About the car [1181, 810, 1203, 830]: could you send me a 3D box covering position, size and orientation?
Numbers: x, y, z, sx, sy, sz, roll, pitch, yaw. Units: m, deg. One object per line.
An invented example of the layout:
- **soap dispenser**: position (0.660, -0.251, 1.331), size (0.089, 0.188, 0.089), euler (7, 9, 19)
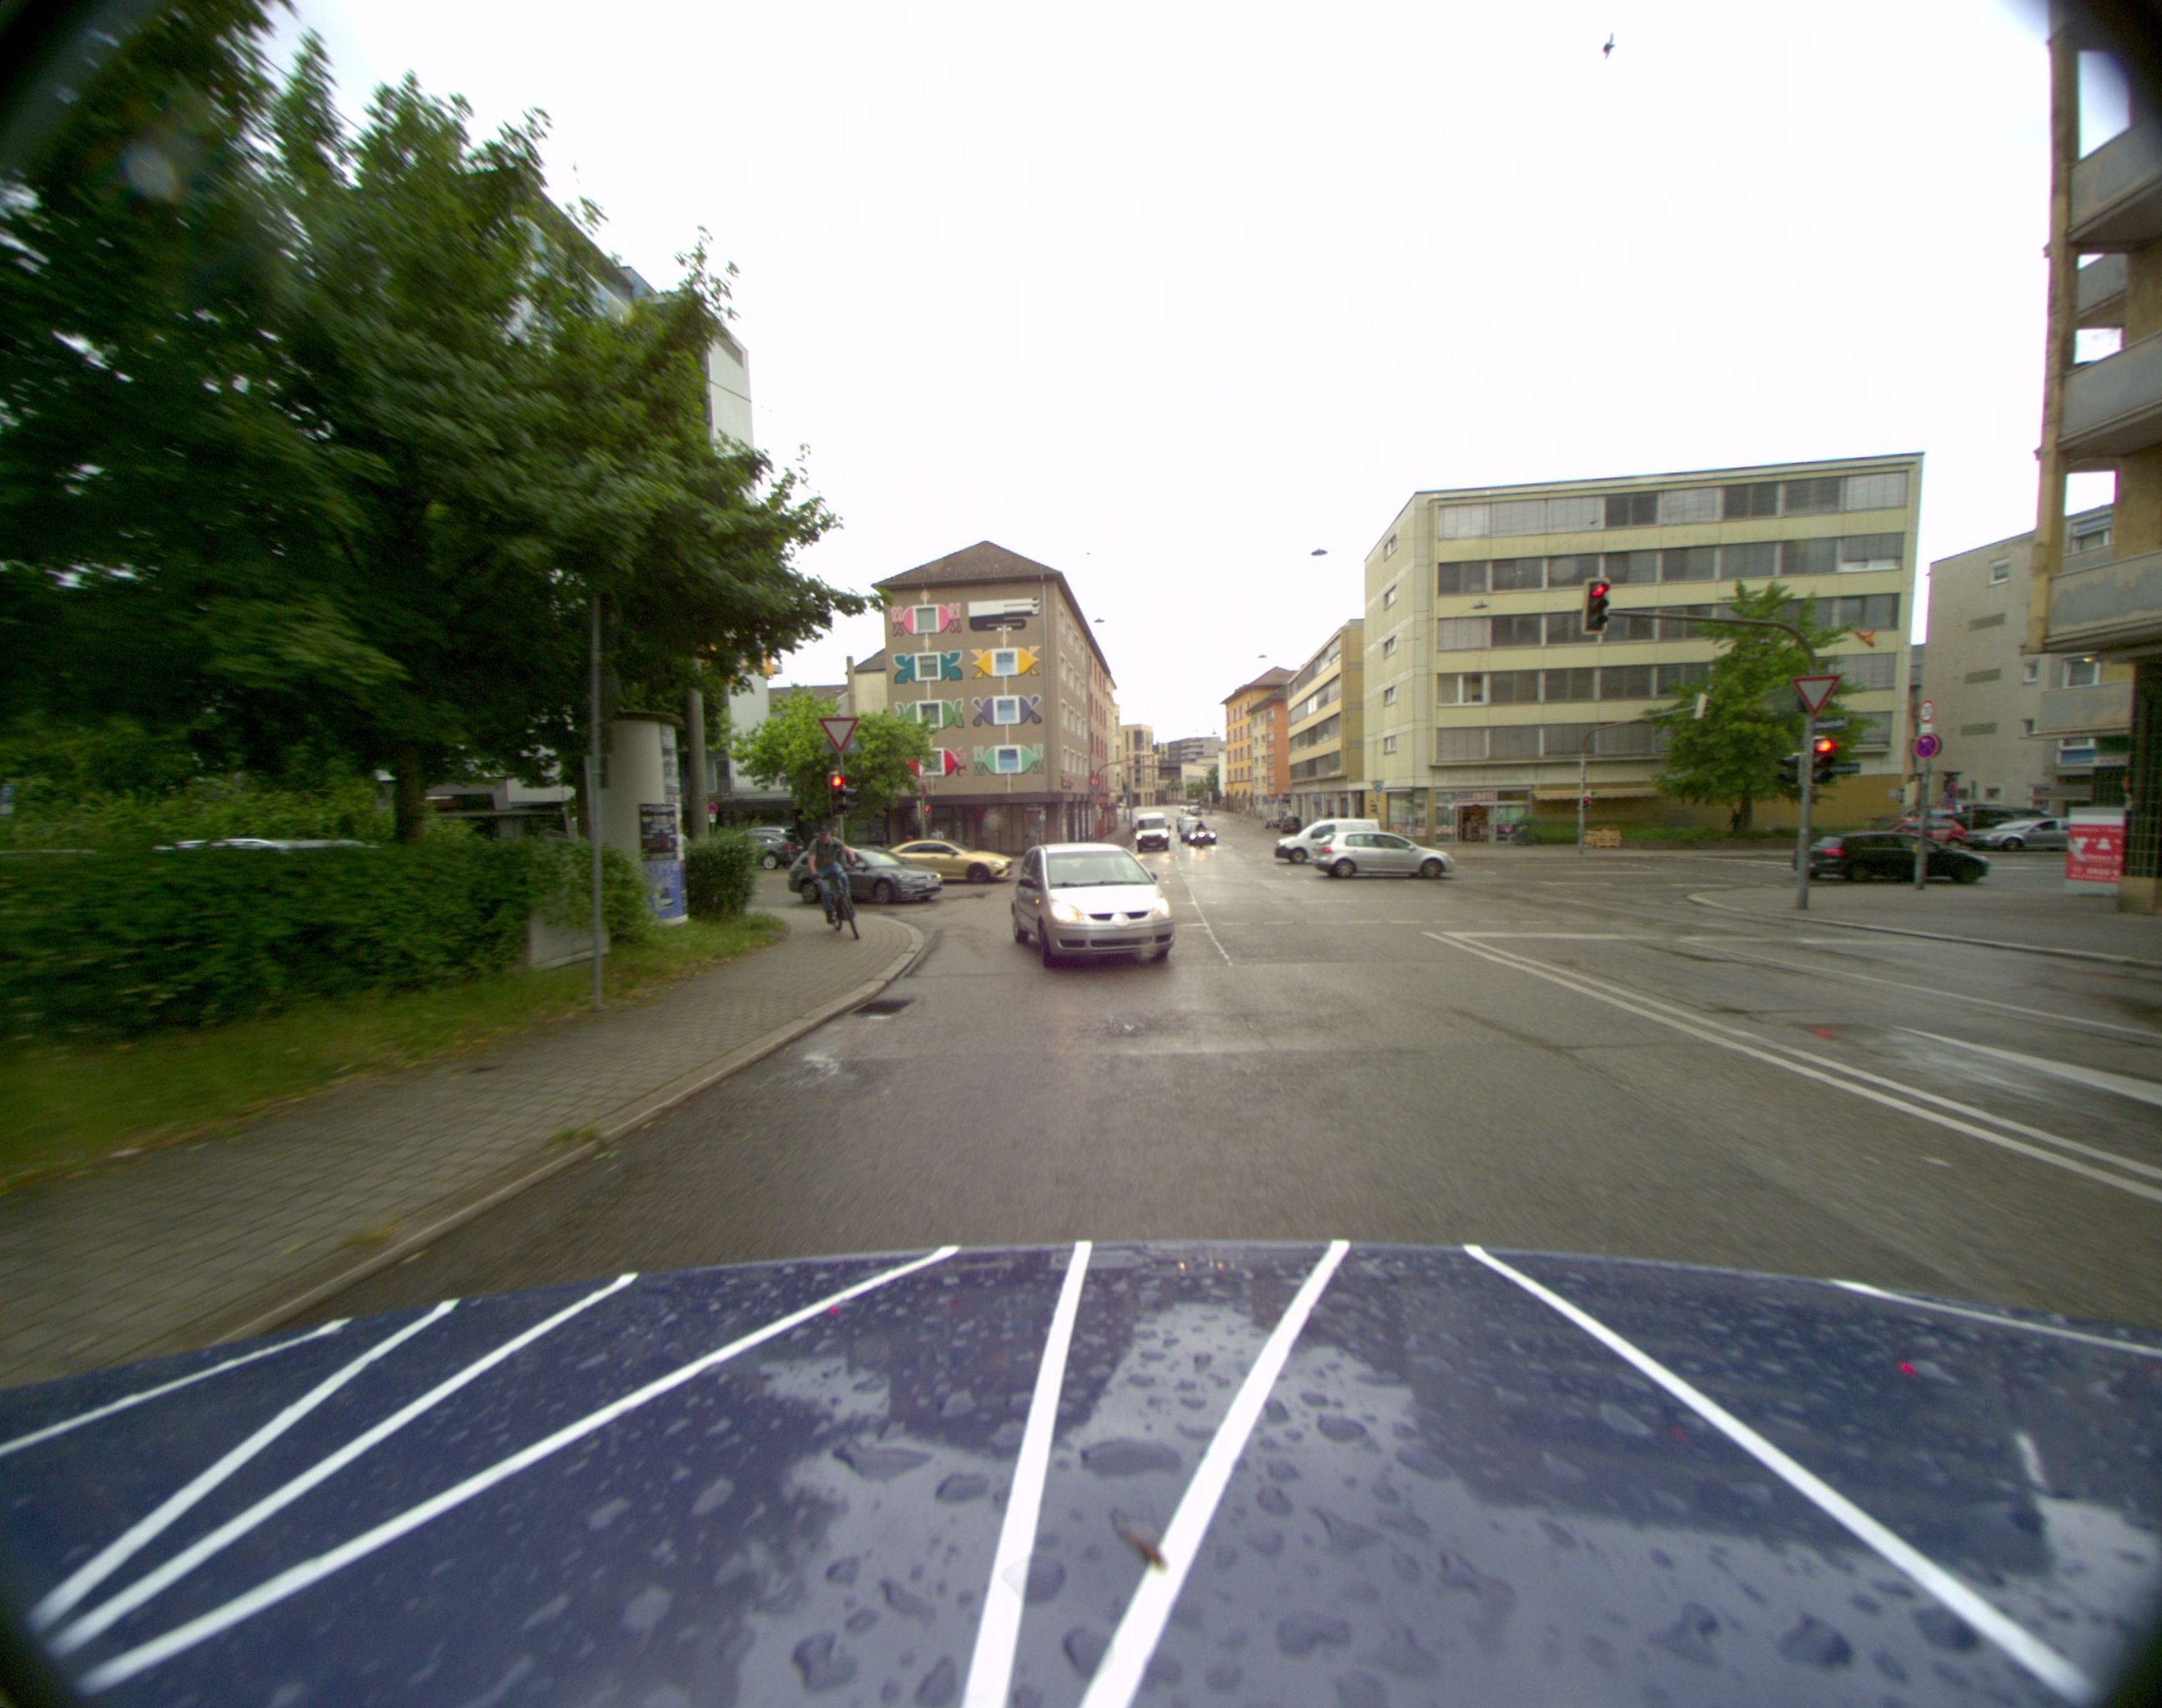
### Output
- **car**: position (10.216, -3.127, 70.089), size (1.848, 1.705, 3.570), euler (-3, 2, 8)

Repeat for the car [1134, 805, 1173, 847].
- **car**: position (4.865, -1.859, 50.232), size (2.230, 2.510, 5.472), euler (-3, 2, 8)

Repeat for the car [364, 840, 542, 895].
- **car**: position (-22.161, 0.447, 26.948), size (4.576, 1.573, 1.988), euler (0, 10, 4)

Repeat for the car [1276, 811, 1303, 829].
- **car**: position (19.884, -3.253, 72.562), size (1.848, 1.558, 4.370), euler (-3, 2, 8)

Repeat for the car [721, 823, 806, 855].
- **car**: position (-18.091, -0.884, 43.382), size (4.181, 1.657, 1.650), euler (1, 5, 6)

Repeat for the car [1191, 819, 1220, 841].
- **car**: position (8.749, -1.719, 53.615), size (1.848, 1.411, 3.570), euler (-3, 2, 8)

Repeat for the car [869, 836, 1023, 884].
- **car**: position (-4.379, 0.181, 25.018), size (4.575, 1.434, 1.991), euler (0, 4, 6)

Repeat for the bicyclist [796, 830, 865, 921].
- **bicyclist**: position (-4.285, 0.348, 12.982), size (0.890, 1.481, 0.966), euler (1, 2, -31)

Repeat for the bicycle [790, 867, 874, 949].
- **bicycle**: position (-4.303, 0.866, 13.014), size (0.890, 1.181, 2.127), euler (1, 2, -31)

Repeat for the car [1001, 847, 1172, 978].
- **car**: position (-0.105, 0.695, 11.323), size (1.688, 1.496, 3.834), euler (-3, 2, -12)

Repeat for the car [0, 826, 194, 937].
- **car**: position (-17.187, 0.419, 12.017), size (1.635, 1.687, 3.703), euler (-1, 2, 10)

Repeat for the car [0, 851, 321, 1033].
- **car**: position (-9.986, 0.753, 7.081), size (4.208, 1.474, 1.637), euler (-1, 1, 2)

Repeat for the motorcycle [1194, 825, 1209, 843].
- **motorcycle**: position (7.581, -1.253, 48.001), size (0.878, 1.093, 1.800), euler (-1, 3, 7)

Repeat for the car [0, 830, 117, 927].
- **car**: position (-19.722, 0.460, 12.921), size (1.635, 1.687, 3.703), euler (-1, 2, 10)

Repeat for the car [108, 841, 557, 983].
- **car**: position (-9.416, 0.688, 9.781), size (4.208, 1.612, 1.637), euler (-1, 1, 2)

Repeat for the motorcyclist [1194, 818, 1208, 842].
- **motorcyclist**: position (7.590, -1.531, 48.111), size (0.878, 1.471, 0.796), euler (-1, 3, 7)

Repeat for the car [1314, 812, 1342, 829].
- **car**: position (25.048, -3.363, 77.280), size (1.848, 1.558, 4.369), euler (-3, 2, 7)

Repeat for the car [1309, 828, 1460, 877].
- **car**: position (9.349, -0.075, 23.682), size (4.031, 1.417, 1.687), euler (0, 4, 6)

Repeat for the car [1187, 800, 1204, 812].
- **car**: position (17.595, -7.383, 117.032), size (1.849, 1.700, 4.365), euler (-1, 5, 0)

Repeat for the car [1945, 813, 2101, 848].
- **car**: position (40.146, -1.013, 32.490), size (3.885, 1.420, 1.725), euler (0, 5, 12)

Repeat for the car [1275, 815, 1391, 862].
- **car**: position (10.274, -0.660, 31.276), size (4.224, 1.845, 1.992), euler (0, 3, 9)

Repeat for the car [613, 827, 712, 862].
- **car**: position (-21.498, -0.505, 39.094), size (4.181, 1.657, 1.650), euler (1, 5, 6)

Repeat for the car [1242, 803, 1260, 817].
- **car**: position (22.203, -5.741, 99.204), size (1.848, 1.558, 4.370), euler (-3, 2, 8)

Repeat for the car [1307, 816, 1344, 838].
- **car**: position (17.737, -1.960, 55.264), size (1.848, 1.411, 3.570), euler (-3, 2, 8)

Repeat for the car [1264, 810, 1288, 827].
- **car**: position (20.216, -3.655, 78.962), size (1.848, 1.558, 4.370), euler (-3, 2, 8)

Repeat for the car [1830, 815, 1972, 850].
- **car**: position (35.694, -0.959, 33.182), size (3.885, 1.420, 1.725), euler (0, 5, 12)

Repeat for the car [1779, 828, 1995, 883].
- **car**: position (23.306, 0.015, 22.121), size (4.161, 1.417, 1.688), euler (2, 2, 6)

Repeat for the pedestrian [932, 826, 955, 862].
- **pedestrian**: position (-6.715, -0.501, 37.147), size (0.902, 1.764, 0.818), euler (0, 3, 6)

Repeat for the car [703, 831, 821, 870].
- **car**: position (-14.602, -0.185, 34.898), size (4.563, 1.693, 1.992), euler (0, 3, 10)

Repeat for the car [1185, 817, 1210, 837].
- **car**: position (9.218, -2.134, 60.458), size (1.848, 1.411, 3.570), euler (-3, 2, 8)

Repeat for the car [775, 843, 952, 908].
- **car**: position (-5.859, 0.559, 20.413), size (4.490, 1.497, 1.690), euler (-1, 4, 25)
